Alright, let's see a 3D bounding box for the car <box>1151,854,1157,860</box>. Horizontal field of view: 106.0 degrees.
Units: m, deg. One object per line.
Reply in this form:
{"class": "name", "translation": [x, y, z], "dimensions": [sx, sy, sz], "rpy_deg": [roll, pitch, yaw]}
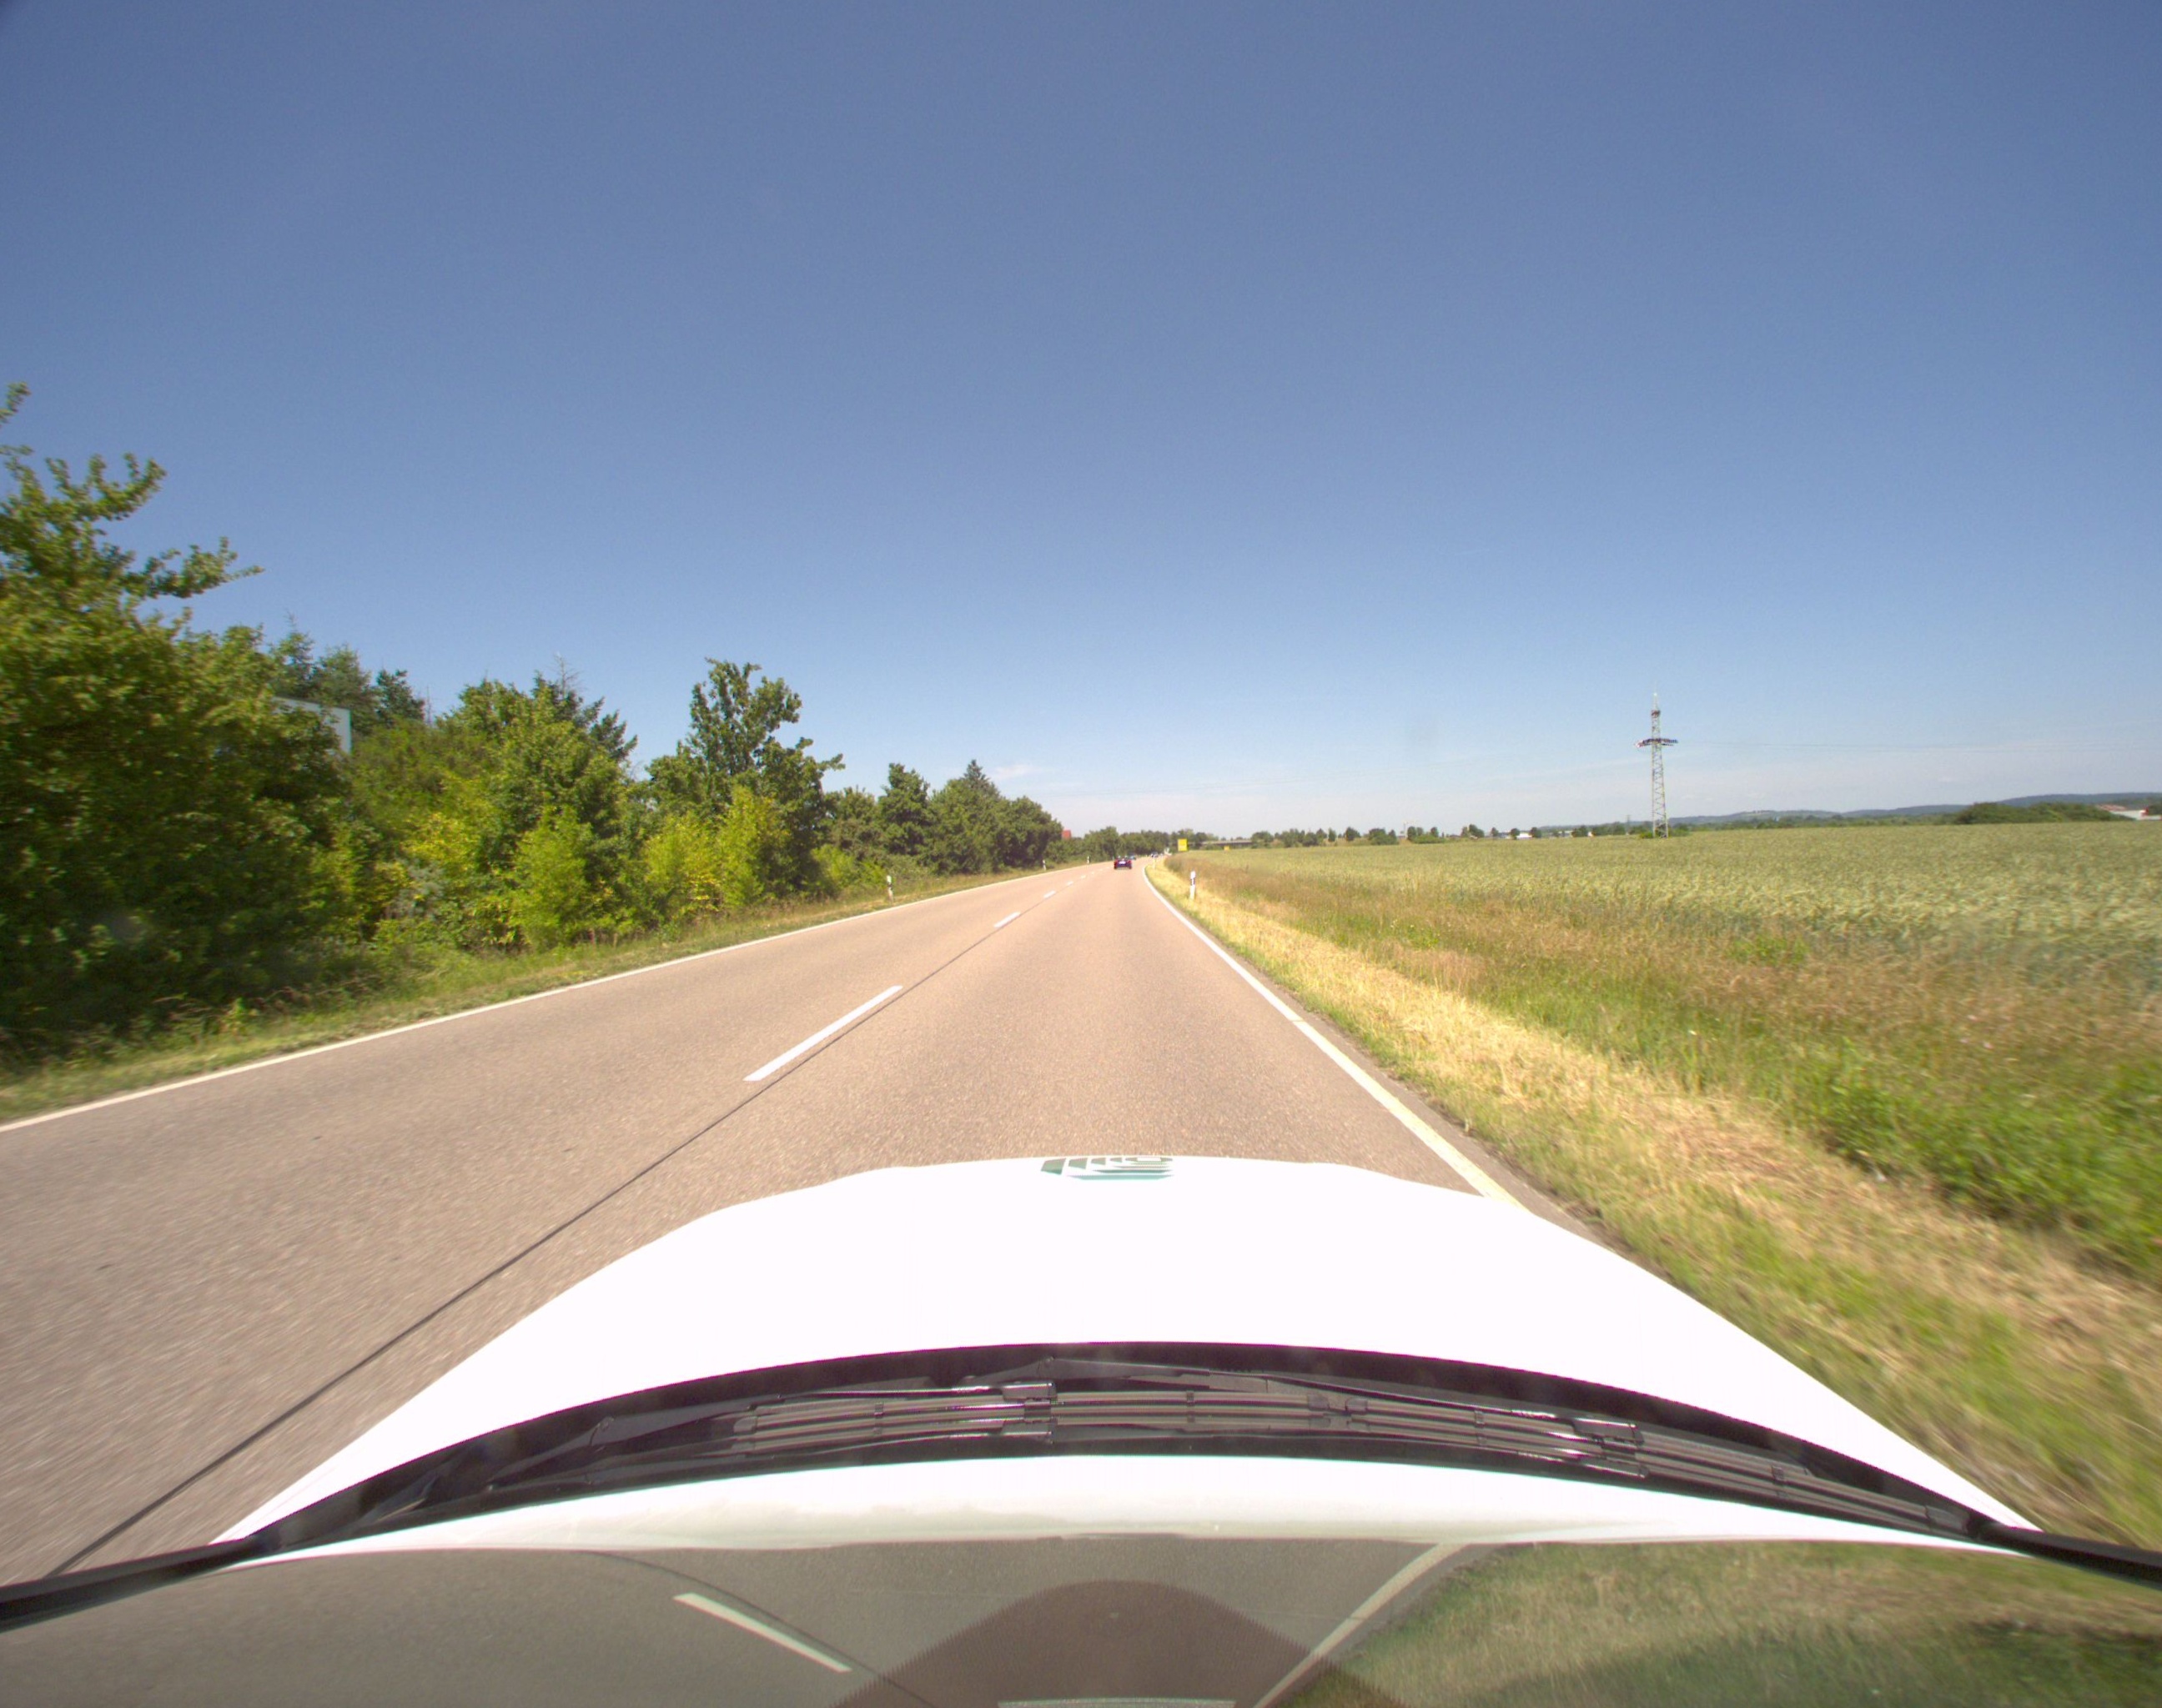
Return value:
{"class": "car", "translation": [22.586, 0.878, 252.670], "dimensions": [1.809, 1.701, 5.010], "rpy_deg": [-1, 0, 6]}

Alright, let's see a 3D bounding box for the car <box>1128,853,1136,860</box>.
{"class": "car", "translation": [11.392, 0.591, 182.007], "dimensions": [1.691, 1.566, 3.676], "rpy_deg": [0, 0, 5]}

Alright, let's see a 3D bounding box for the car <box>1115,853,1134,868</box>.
{"class": "car", "translation": [4.370, 0.643, 81.979], "dimensions": [1.806, 1.441, 4.004], "rpy_deg": [0, 0, 4]}
